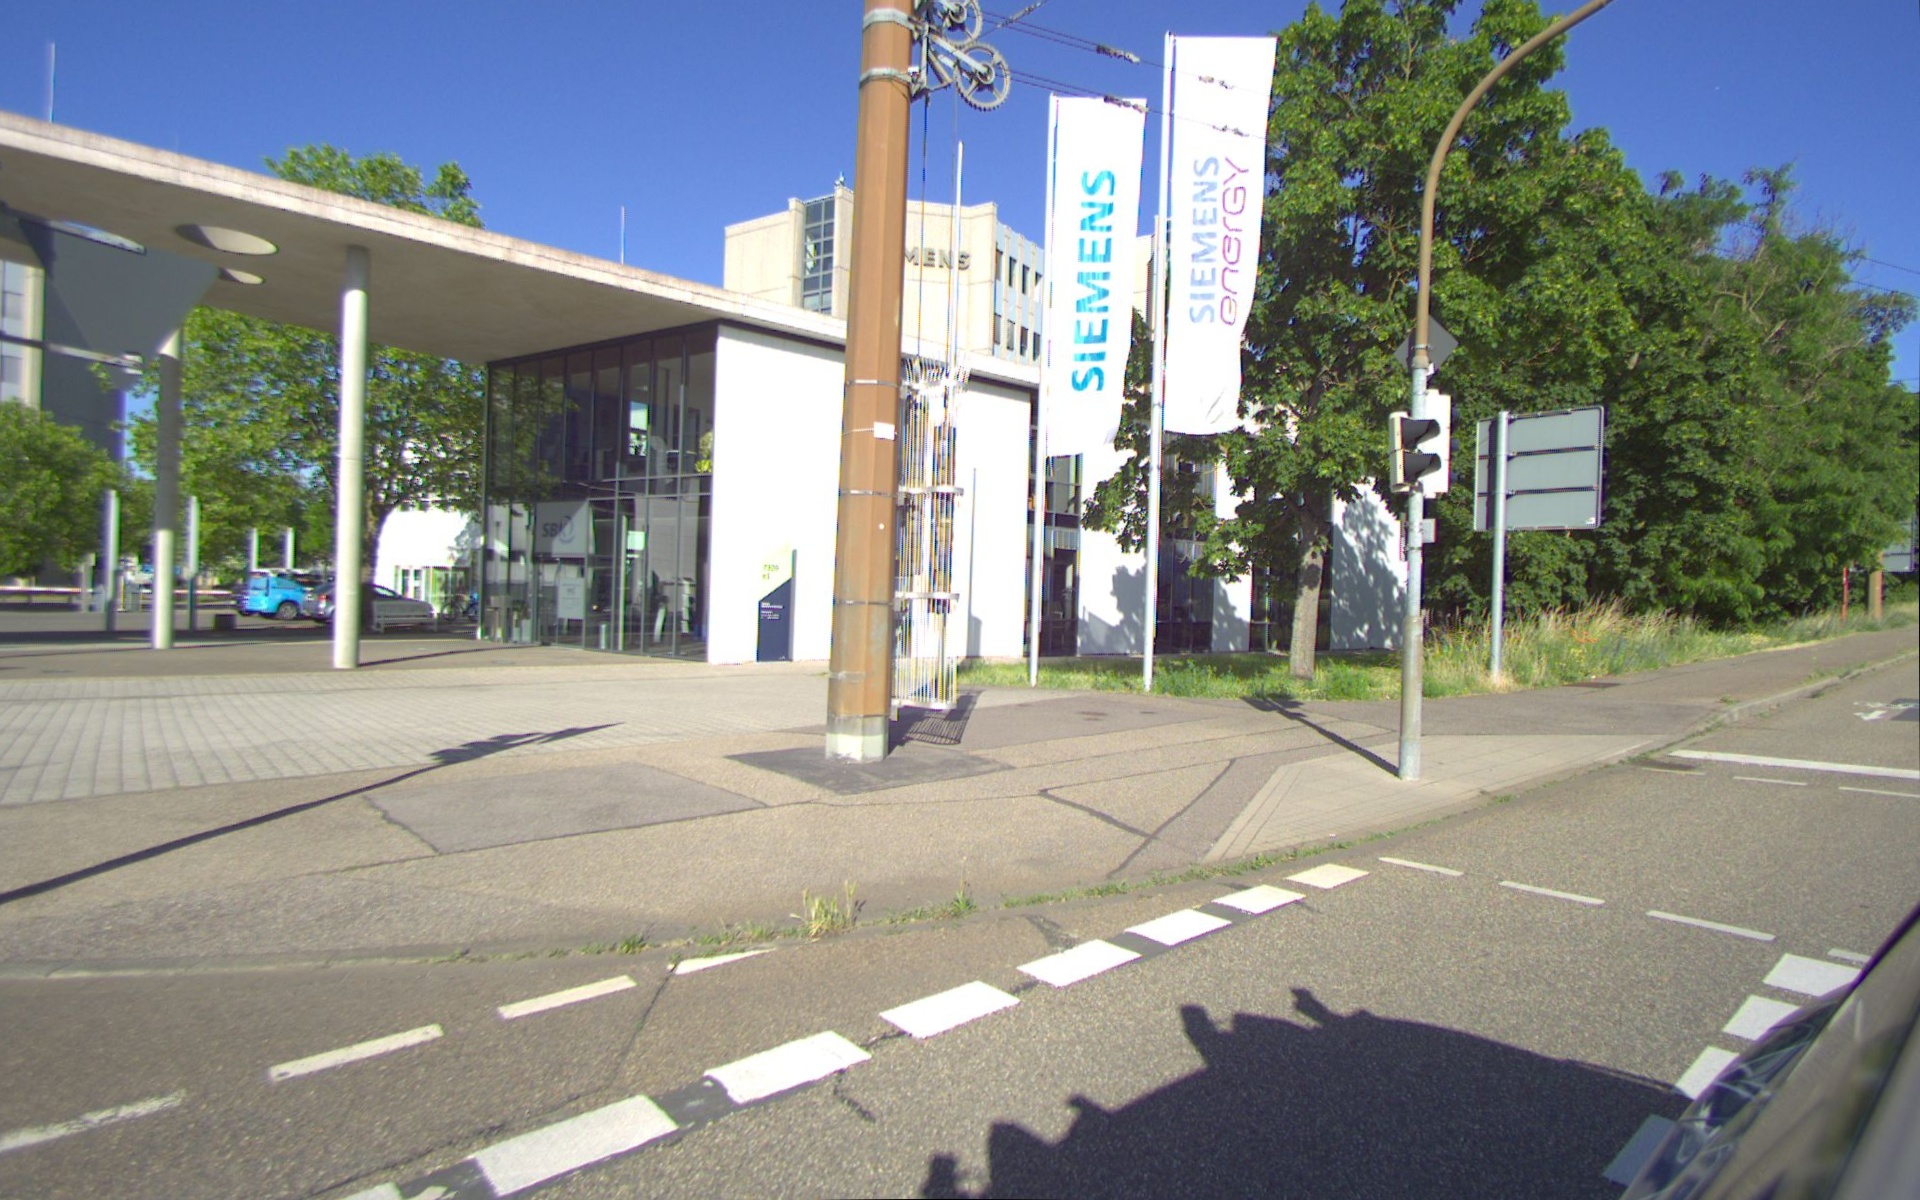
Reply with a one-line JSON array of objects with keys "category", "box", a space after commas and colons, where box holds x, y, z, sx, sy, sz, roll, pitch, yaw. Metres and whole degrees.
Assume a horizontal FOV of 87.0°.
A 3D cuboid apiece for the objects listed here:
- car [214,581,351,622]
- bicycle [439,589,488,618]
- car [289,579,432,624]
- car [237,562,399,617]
[{"category": "car", "box": [-25.562, 0.041, 38.311, 1.766, 1.462, 3.953, 2, 1, 33]}, {"category": "bicycle", "box": [-20.213, 0.143, 41.231, 0.607, 1.150, 1.712, 1, 1, 33]}, {"category": "car", "box": [-20.910, 0.028, 35.416, 1.766, 1.462, 3.953, 2, 1, 33]}, {"category": "car", "box": [-23.209, -0.378, 36.785, 1.766, 1.819, 4.669, 2, 1, 33]}]
